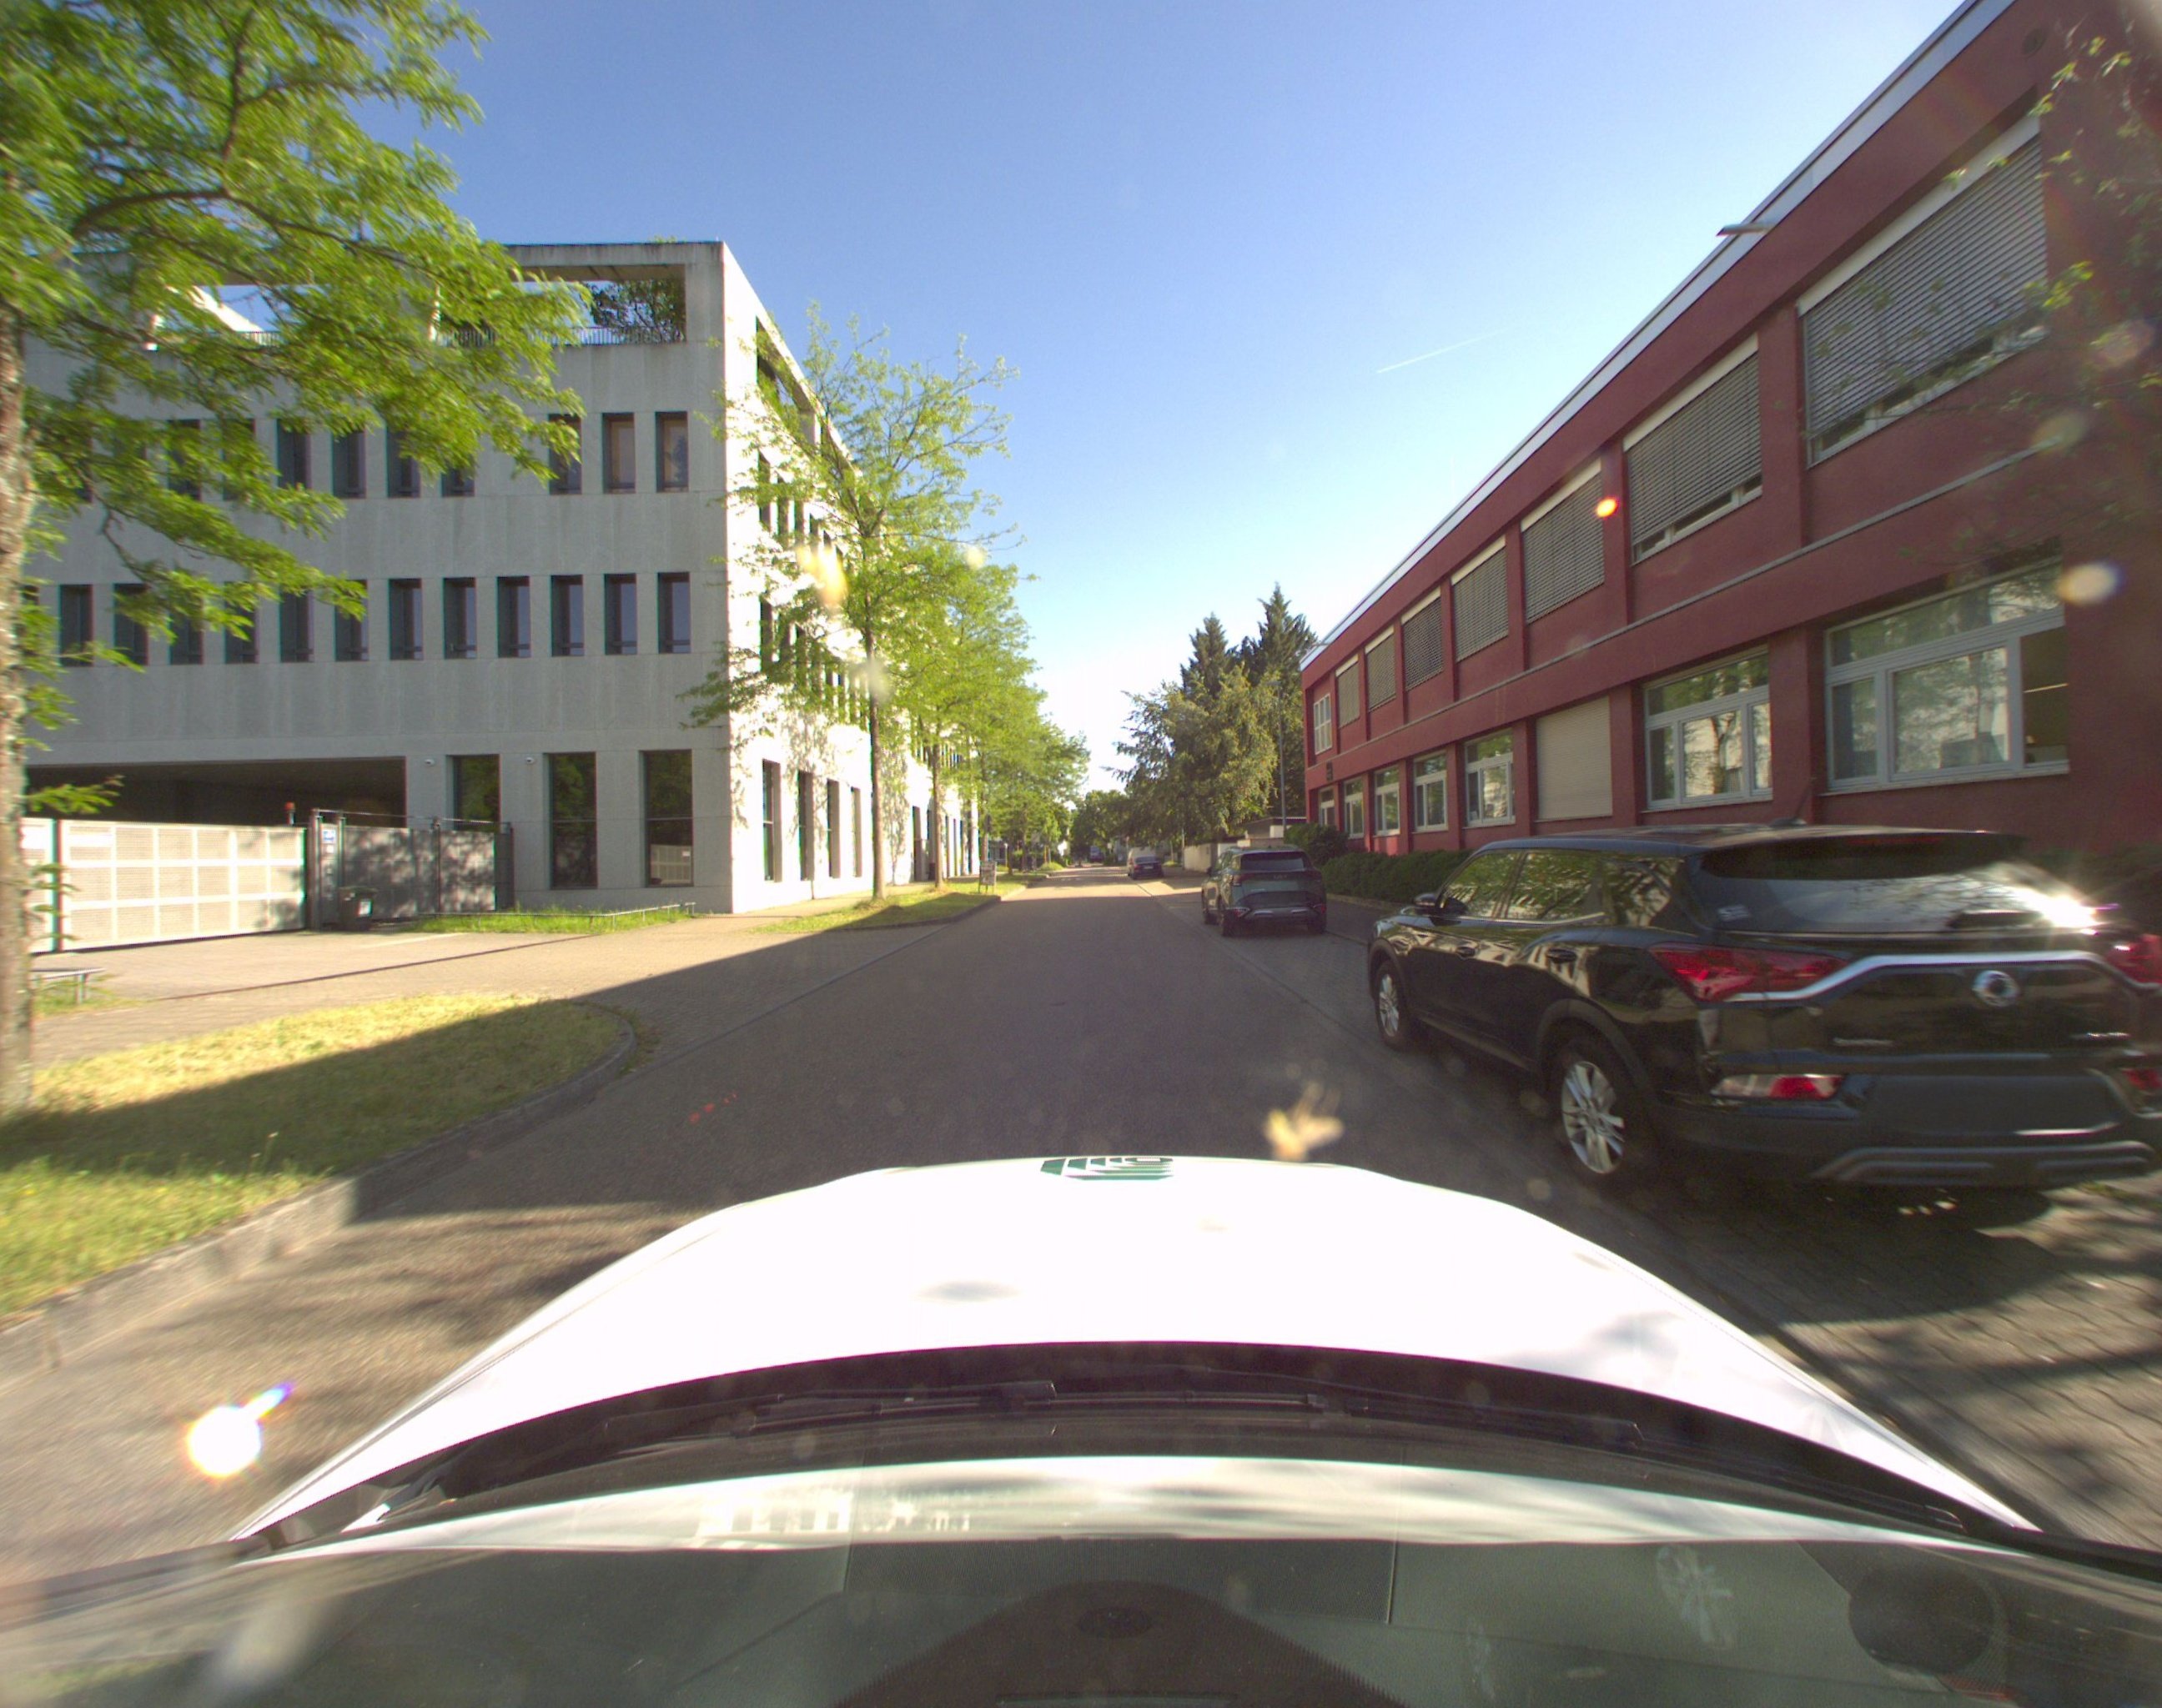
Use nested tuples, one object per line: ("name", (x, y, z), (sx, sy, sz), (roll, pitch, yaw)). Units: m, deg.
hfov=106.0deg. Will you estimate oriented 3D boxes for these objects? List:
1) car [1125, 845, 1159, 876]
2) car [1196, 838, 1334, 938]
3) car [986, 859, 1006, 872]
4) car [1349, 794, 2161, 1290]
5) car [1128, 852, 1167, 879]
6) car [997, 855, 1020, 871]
("car", (4.033, 0.400, 54.317), (1.986, 1.834, 4.002), (-4, 0, 2))
("car", (3.419, 0.616, 15.892), (1.848, 1.648, 4.001), (-2, -1, 2))
("car", (-9.436, 1.239, 90.547), (1.900, 1.342, 3.790), (-1, 0, -2))
("car", (3.133, 0.626, 4.819), (1.831, 1.634, 4.203), (-1, 0, 2))
("car", (3.915, 0.655, 48.579), (1.986, 1.442, 4.002), (-4, 0, 2))
("car", (-7.101, 0.891, 79.651), (1.988, 1.458, 3.790), (-1, 0, -2))
